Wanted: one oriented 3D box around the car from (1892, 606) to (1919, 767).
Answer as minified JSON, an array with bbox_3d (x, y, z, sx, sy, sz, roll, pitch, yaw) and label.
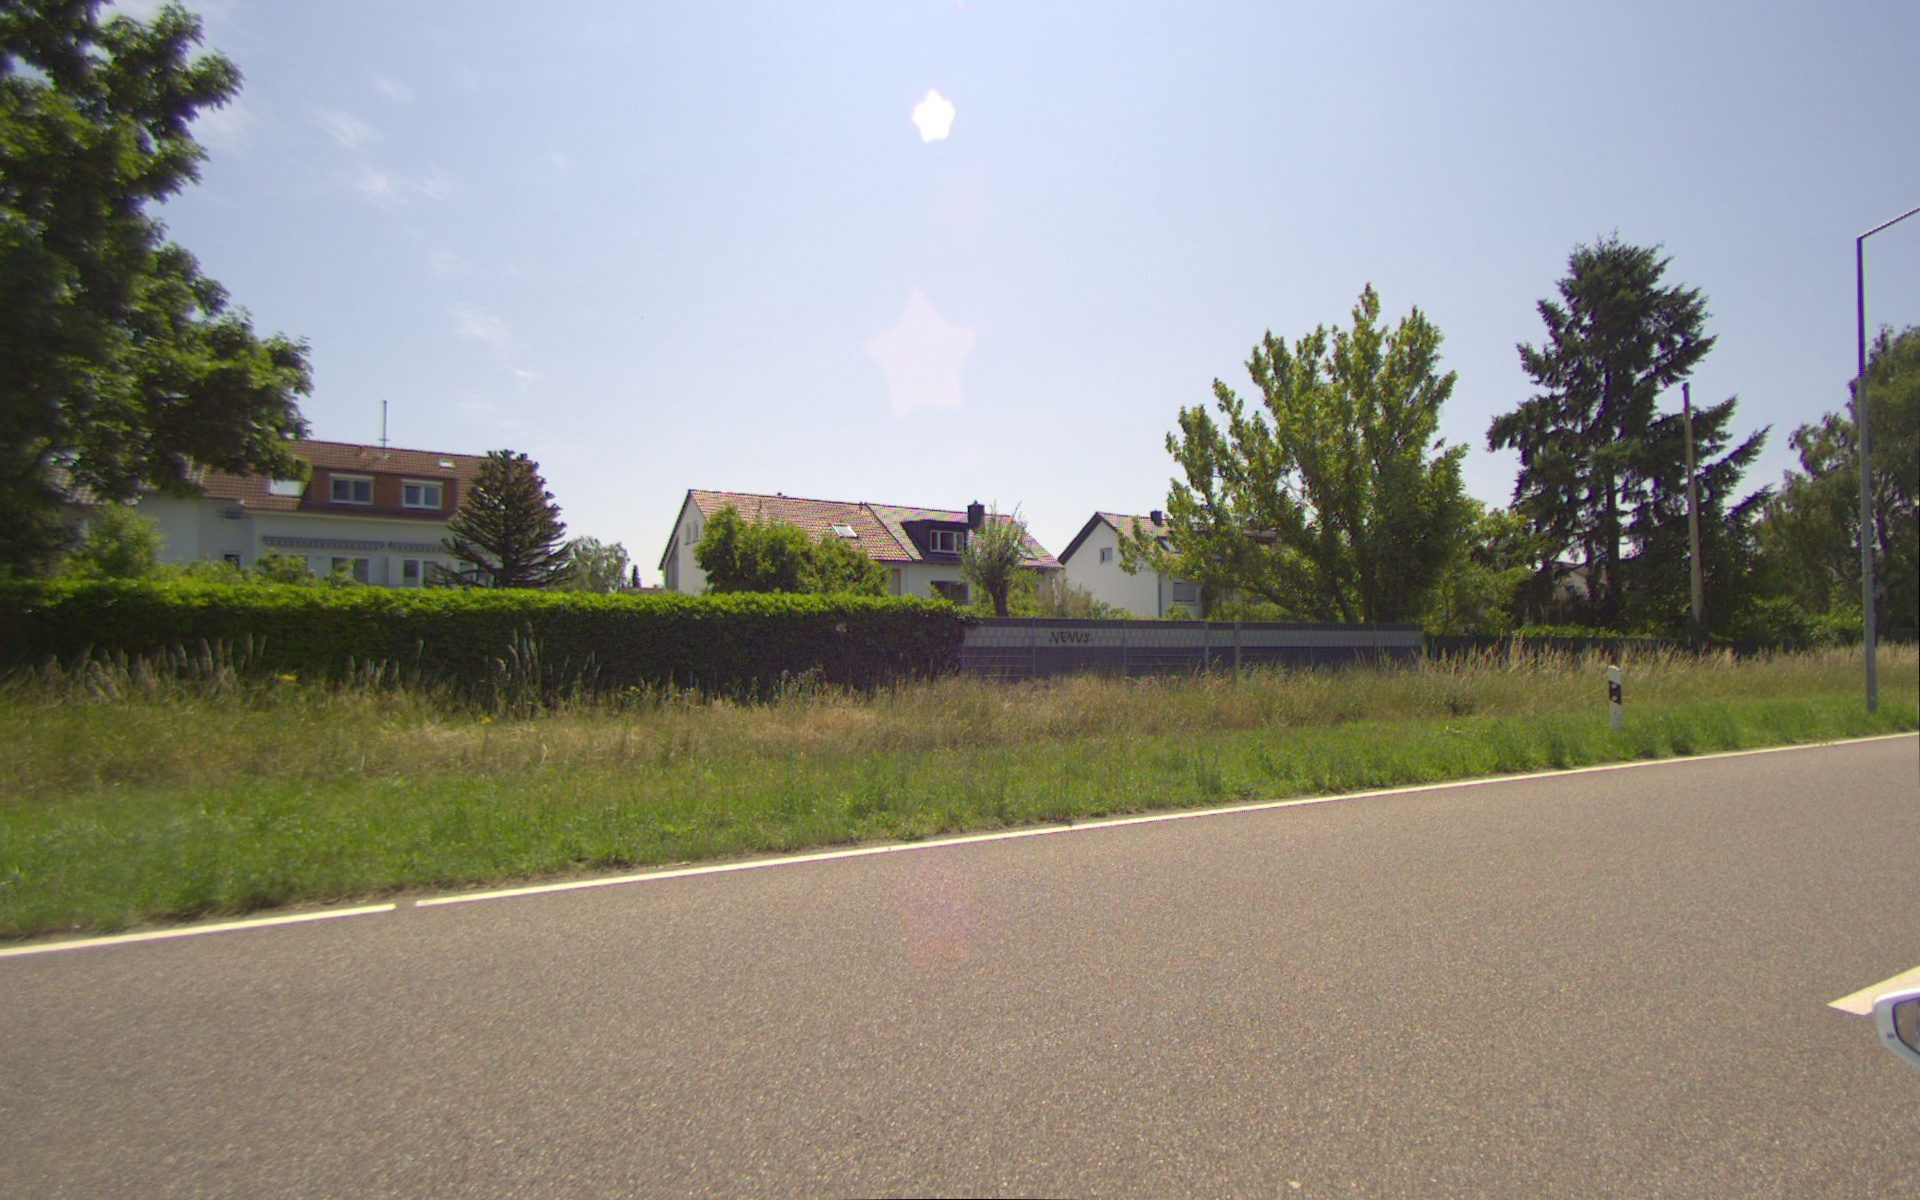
[{"bbox_3d":[13.171,1.016,11.827,4.655,1.819,1.927,2,-2,-30],"label":"car"}]
